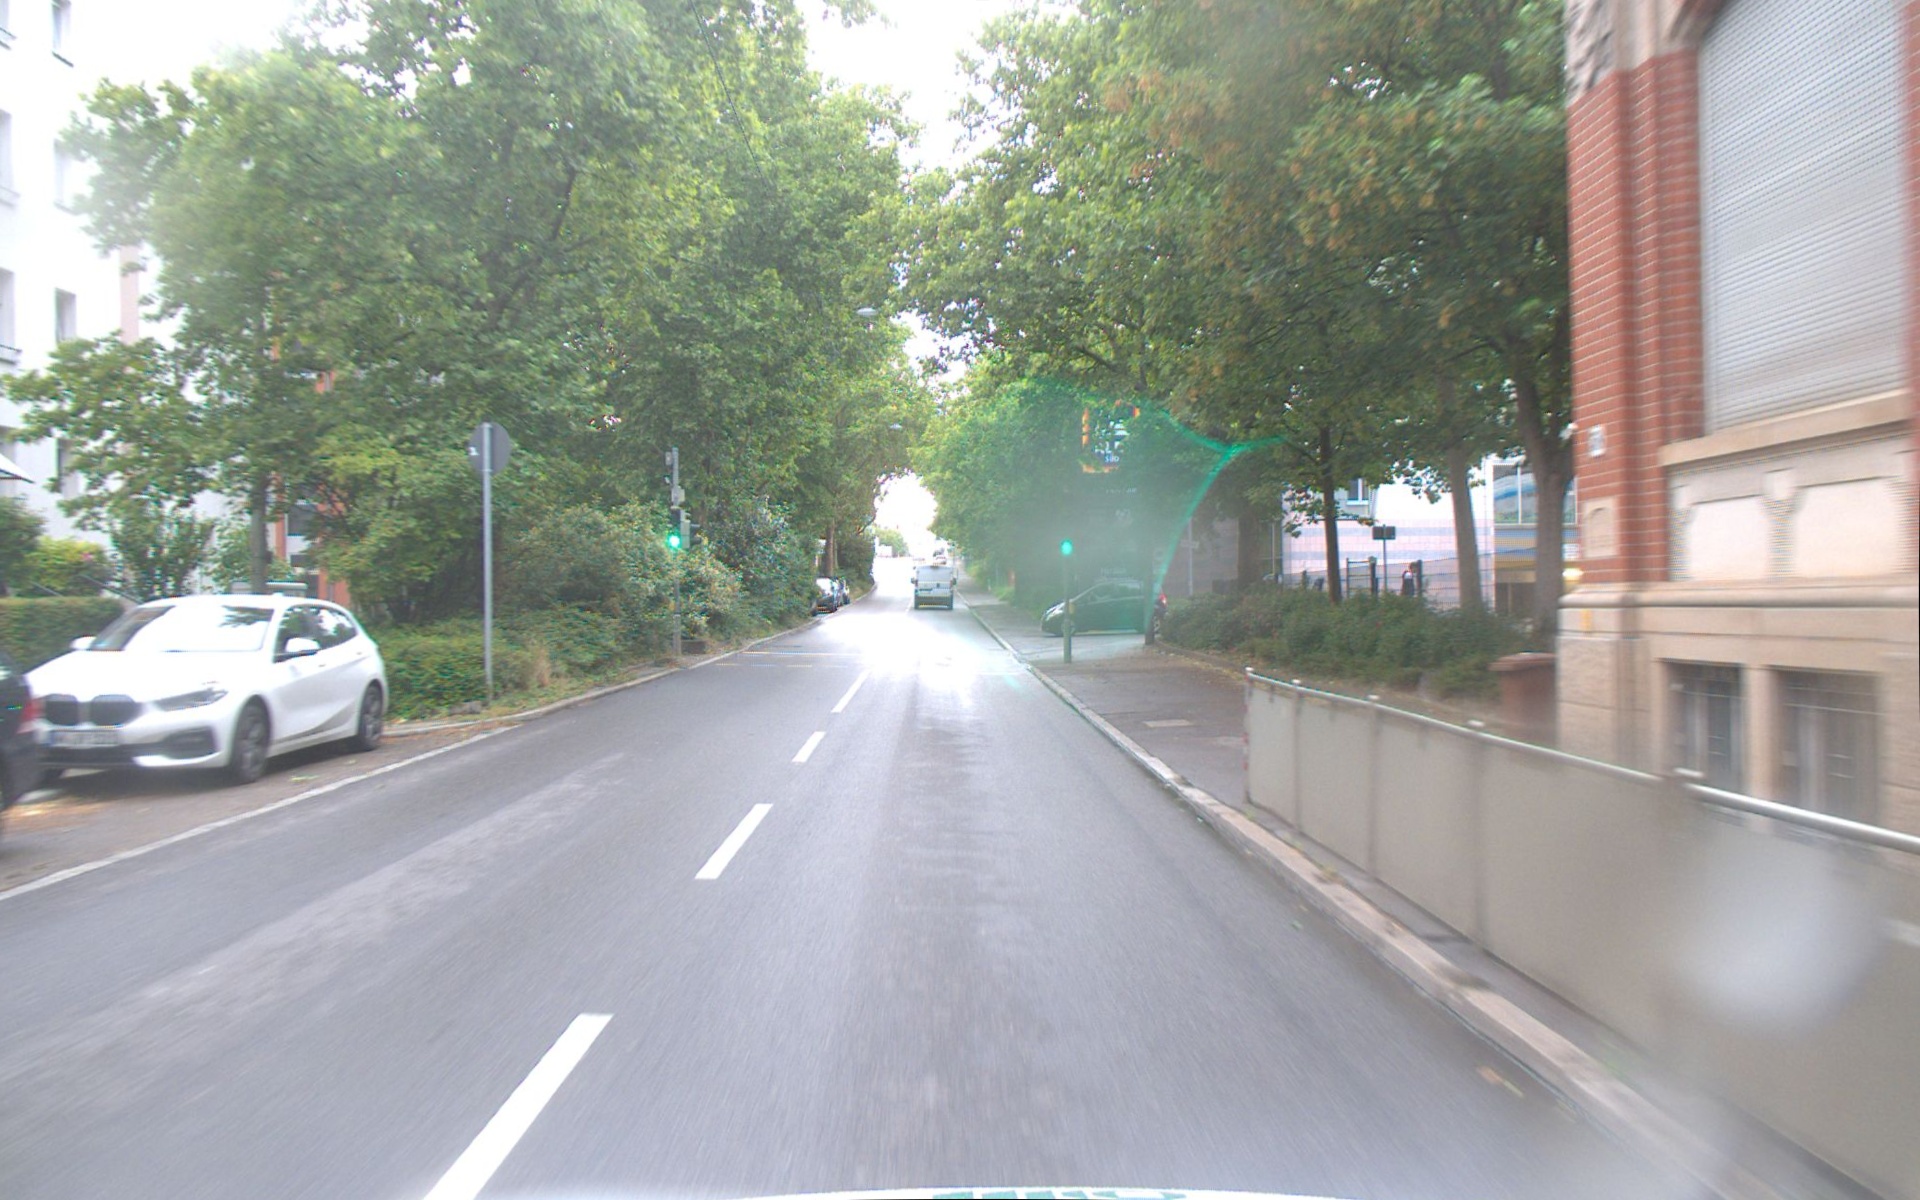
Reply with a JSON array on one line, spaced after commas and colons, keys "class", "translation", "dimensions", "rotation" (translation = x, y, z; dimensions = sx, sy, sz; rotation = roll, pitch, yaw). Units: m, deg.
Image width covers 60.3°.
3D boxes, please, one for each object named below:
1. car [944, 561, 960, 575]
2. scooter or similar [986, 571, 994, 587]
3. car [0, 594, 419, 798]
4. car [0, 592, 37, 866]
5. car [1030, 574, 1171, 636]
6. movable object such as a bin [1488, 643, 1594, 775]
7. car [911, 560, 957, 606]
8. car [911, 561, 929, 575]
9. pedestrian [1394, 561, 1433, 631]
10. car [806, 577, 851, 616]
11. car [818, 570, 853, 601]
[{"class": "car", "translation": [-1.110, -4.340, 223.803], "dimensions": [1.890, 1.739, 3.874], "rotation": [1, -1, 3]}, {"class": "scooter or similar", "translation": [2.166, -1.499, 118.508], "dimensions": [0.417, 1.162, 1.528], "rotation": [1, -1, -3]}, {"class": "car", "translation": [-6.235, 0.700, 14.353], "dimensions": [1.681, 1.493, 4.309], "rotation": [0, 0, 0]}, {"class": "car", "translation": [-5.951, 0.709, 7.249], "dimensions": [1.683, 1.493, 4.230], "rotation": [0, 0, -4]}, {"class": "car", "translation": [4.110, 0.129, 48.758], "dimensions": [3.776, 1.574, 2.023], "rotation": [-3, 1, -7]}, {"class": "movable object such as a bin", "translation": [4.452, 0.822, 12.697], "dimensions": [0.578, 0.949, 0.572], "rotation": [-2, 0, -2]}, {"class": "car", "translation": [-1.315, -0.854, 85.690], "dimensions": [2.288, 2.270, 4.000], "rotation": [-1, 0, -1]}, {"class": "car", "translation": [-5.412, -4.415, 225.725], "dimensions": [2.114, 1.739, 3.874], "rotation": [1, -1, 3]}, {"class": "pedestrian", "translation": [12.122, -0.102, 44.240], "dimensions": [0.812, 1.860, 0.960], "rotation": [0, 0, 2]}, {"class": "car", "translation": [-6.058, -0.194, 76.425], "dimensions": [1.827, 1.619, 4.238], "rotation": [-3, 1, -2]}, {"class": "car", "translation": [-6.984, -0.843, 93.039], "dimensions": [1.615, 1.564, 4.017], "rotation": [-4, 1, -2]}]
